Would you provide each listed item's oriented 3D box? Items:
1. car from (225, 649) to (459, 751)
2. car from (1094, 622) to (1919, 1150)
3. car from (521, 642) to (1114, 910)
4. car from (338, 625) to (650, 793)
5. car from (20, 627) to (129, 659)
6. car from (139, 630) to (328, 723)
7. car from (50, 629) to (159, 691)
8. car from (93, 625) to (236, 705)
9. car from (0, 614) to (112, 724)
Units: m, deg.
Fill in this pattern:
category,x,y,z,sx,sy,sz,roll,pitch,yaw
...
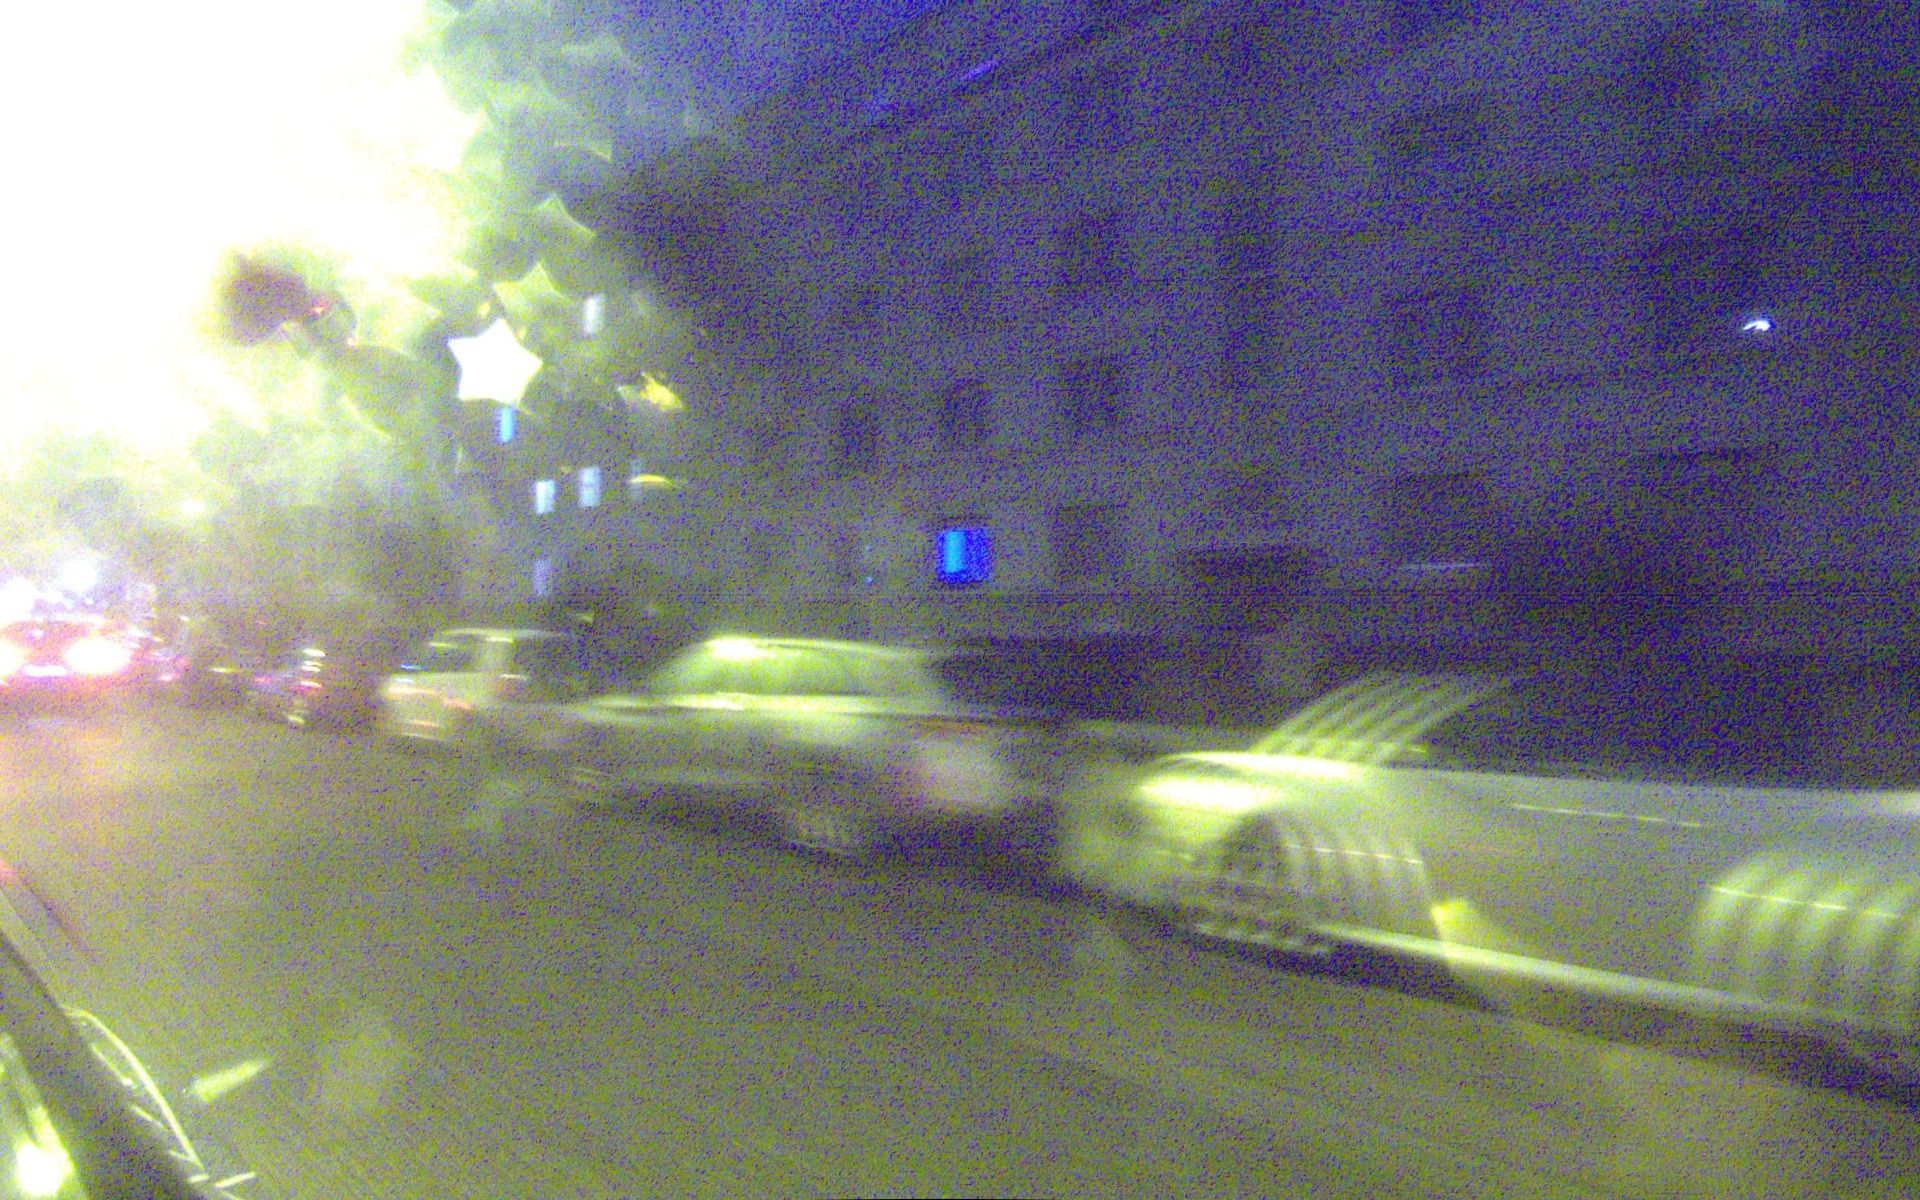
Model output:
category,x,y,z,sx,sy,sz,roll,pitch,yaw
car,-9.428,1.417,15.277,4.638,1.278,1.818,-2,-5,43
car,2.837,0.913,4.140,4.390,1.551,1.648,-2,-5,42
car,-1.290,1.058,7.564,4.669,1.429,1.603,-2,-5,38
car,-5.369,1.136,11.435,4.058,1.551,1.688,-2,-6,42
car,-50.889,2.517,58.295,4.472,1.719,1.855,4,-4,-35
car,-13.263,1.338,18.378,4.394,1.484,1.776,-2,-5,41
car,-22.220,1.541,26.234,3.962,1.484,1.606,-2,-5,42
car,-17.507,1.404,22.229,3.960,1.585,1.607,-1,-6,40
car,-14.978,1.061,16.060,4.369,1.551,1.688,-2,-5,42
